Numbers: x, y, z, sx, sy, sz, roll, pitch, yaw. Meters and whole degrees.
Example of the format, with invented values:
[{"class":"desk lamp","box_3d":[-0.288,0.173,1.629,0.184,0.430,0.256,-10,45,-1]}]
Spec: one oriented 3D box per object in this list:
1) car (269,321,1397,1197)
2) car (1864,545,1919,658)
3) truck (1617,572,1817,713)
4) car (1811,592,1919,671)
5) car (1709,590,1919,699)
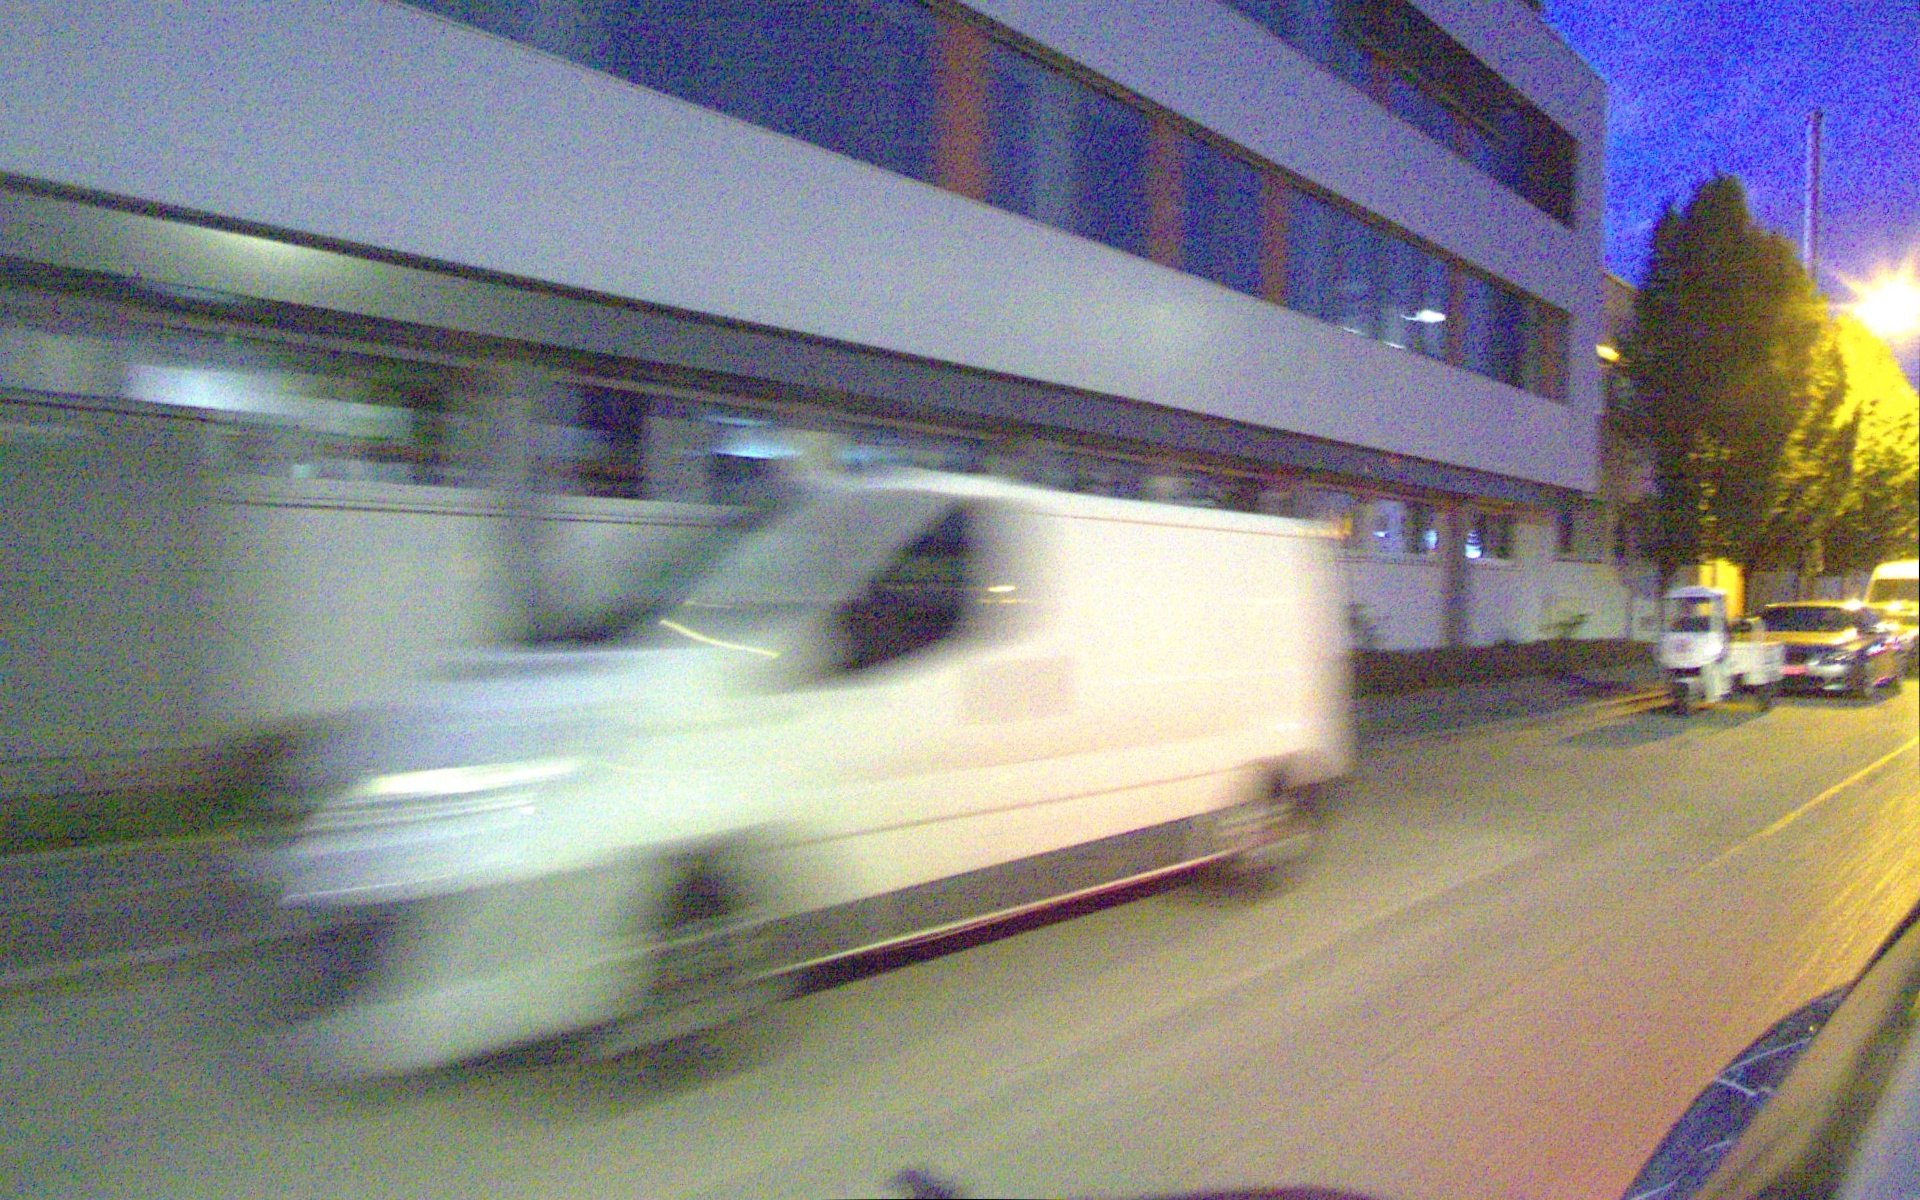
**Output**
[{"class":"car","box_3d":[-0.173,0.341,4.662,4.823,2.038,1.998,0,2,-39]},{"class":"car","box_3d":[23.967,0.040,24.471,5.799,2.558,1.998,0,-2,-37]},{"class":"truck","box_3d":[10.357,0.482,13.755,3.745,1.665,1.373,0,1,-40]},{"class":"car","box_3d":[19.115,0.586,20.609,4.465,1.430,1.775,0,1,-37]},{"class":"car","box_3d":[14.214,0.627,16.617,4.920,1.508,1.951,0,1,-40]}]
